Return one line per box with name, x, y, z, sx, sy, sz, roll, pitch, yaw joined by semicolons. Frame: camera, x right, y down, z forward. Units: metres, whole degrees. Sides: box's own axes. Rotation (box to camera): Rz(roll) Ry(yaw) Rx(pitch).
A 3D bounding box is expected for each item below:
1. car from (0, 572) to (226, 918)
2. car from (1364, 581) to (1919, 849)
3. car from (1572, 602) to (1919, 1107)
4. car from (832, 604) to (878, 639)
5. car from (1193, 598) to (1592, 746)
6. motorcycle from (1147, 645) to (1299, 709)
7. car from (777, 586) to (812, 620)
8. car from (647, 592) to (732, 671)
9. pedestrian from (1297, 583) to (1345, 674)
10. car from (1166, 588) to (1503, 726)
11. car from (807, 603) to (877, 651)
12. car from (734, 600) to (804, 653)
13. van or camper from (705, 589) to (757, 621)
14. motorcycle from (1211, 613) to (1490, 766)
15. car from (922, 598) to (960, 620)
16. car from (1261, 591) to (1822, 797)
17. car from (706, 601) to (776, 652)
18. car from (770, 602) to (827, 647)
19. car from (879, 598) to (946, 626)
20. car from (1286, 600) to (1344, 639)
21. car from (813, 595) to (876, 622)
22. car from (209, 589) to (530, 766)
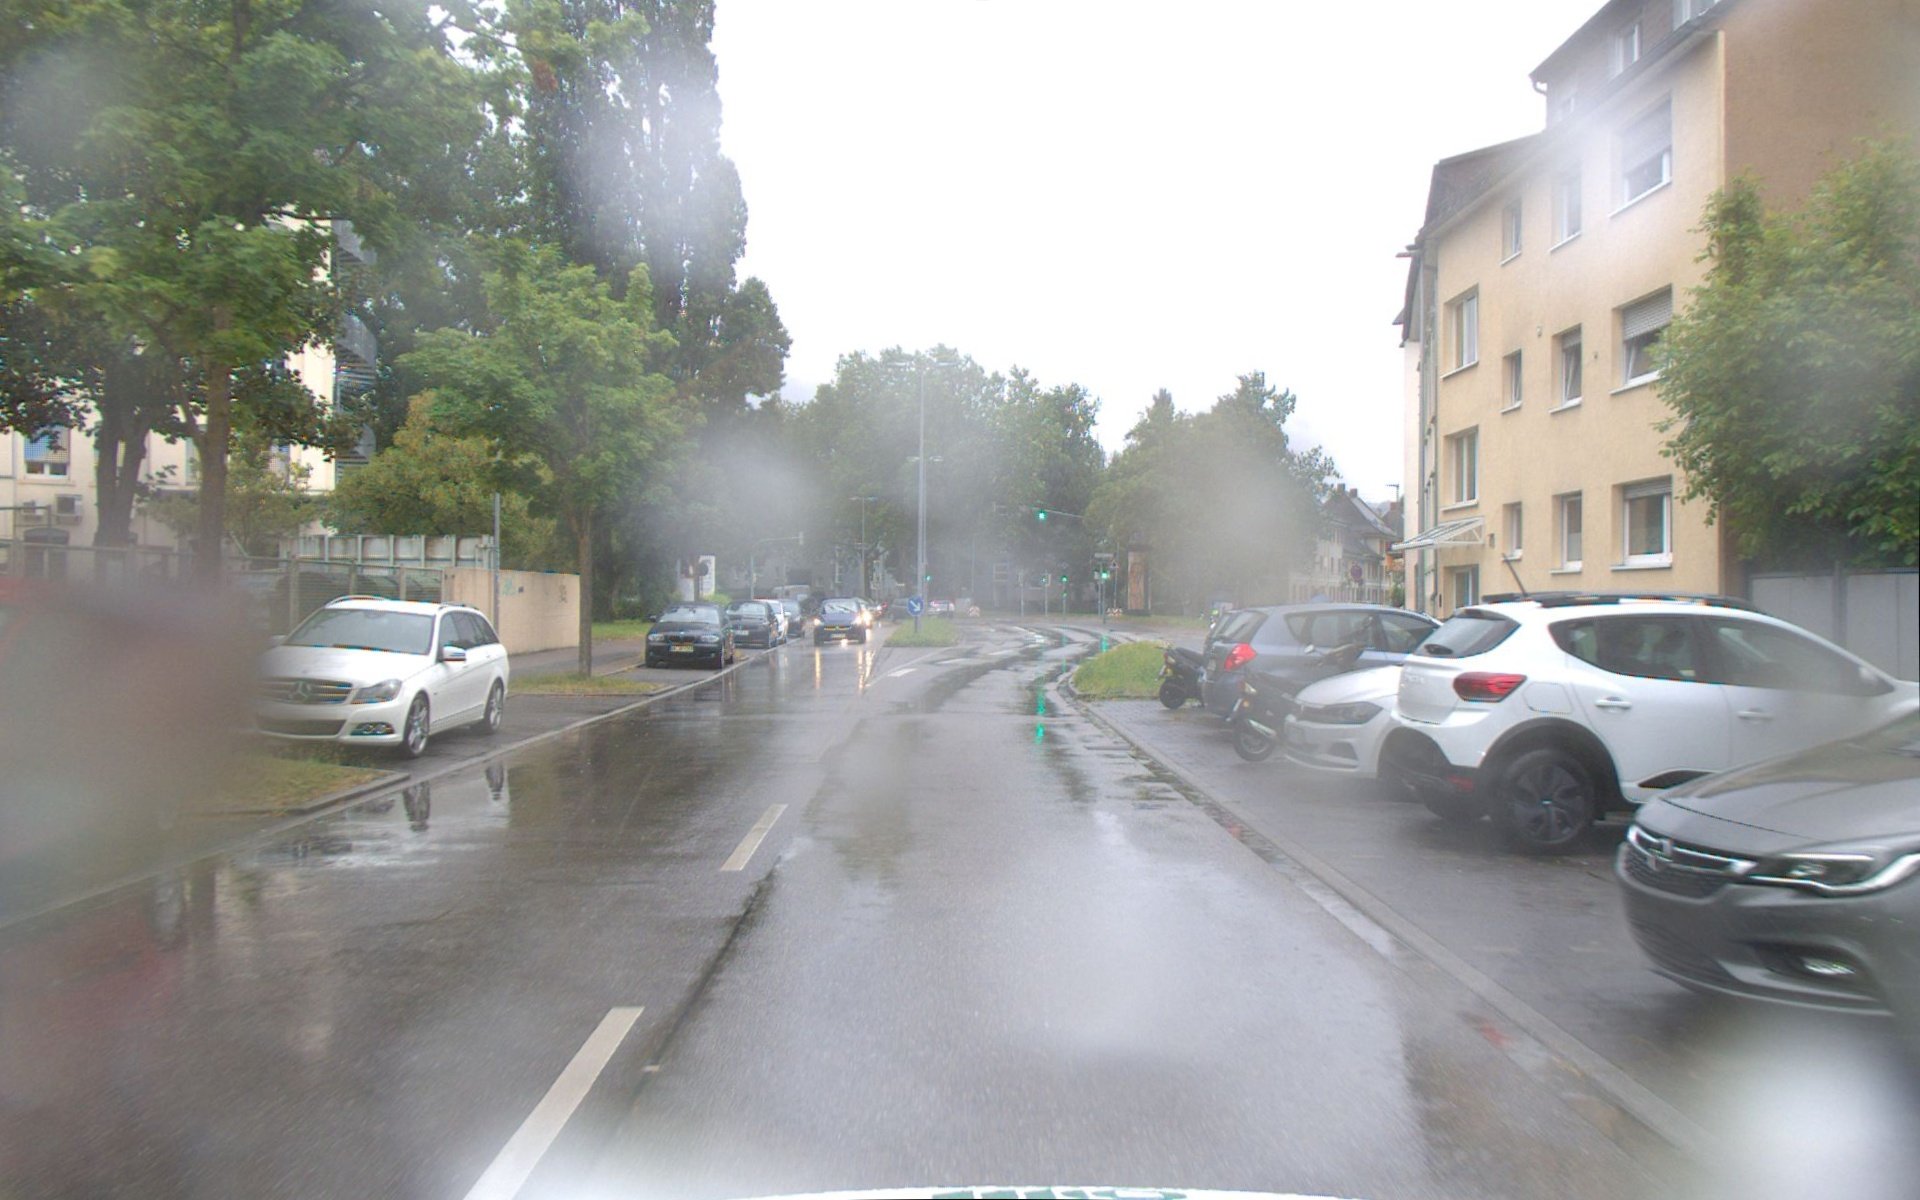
car;-5.403;0.673;8.704;1.594;1.626;4.195;1;0;-7
car;4.887;0.713;10.962;3.907;1.579;1.904;1;-1;-3
car;4.448;0.786;5.844;3.906;1.491;1.781;1;0;-1
car;-5.263;1.077;83.378;1.887;1.722;4.001;1;0;2
car;4.672;0.758;18.293;3.905;1.487;1.934;1;0;-1
motorcycle;3.617;1.059;22.893;2.029;0.806;0.711;1;0;5
car;-16.253;0.302;162.516;2.189;3.294;4.639;1;-1;-22
car;-6.008;0.671;37.036;1.742;1.556;3.994;1;1;-8
pedestrian;8.355;0.651;38.218;0.989;2.049;0.952;1;-1;17
car;4.584;0.685;20.702;3.902;1.579;1.747;1;-1;5
car;-3.900;0.896;55.356;1.952;1.512;4.000;1;0;1
car;-6.673;0.926;58.138;1.887;1.761;4.000;1;0;1
van or camper;-14.711;0.328;106.387;1.951;2.049;4.003;0;0;14
motorcycle;3.605;0.816;15.393;2.352;1.347;0.918;1;-1;-6
car;-1.336;0.618;115.169;1.818;1.551;3.986;0;0;-13
car;4.616;0.730;13.508;3.908;1.516;1.861;1;-1;-4
car;-6.818;0.792;51.820;1.891;1.510;3.997;0;0;-4
car;-6.639;0.986;68.414;1.887;1.761;4.000;1;0;1
car;-3.002;0.769;104.827;3.913;1.718;1.742;1;-1;31
car;16.304;0.888;75.772;1.953;1.747;4.000;1;0;21
car;-7.808;0.577;111.733;3.911;1.718;1.743;1;-1;29
car;-5.848;0.704;17.013;1.733;1.555;4.596;1;0;-2
